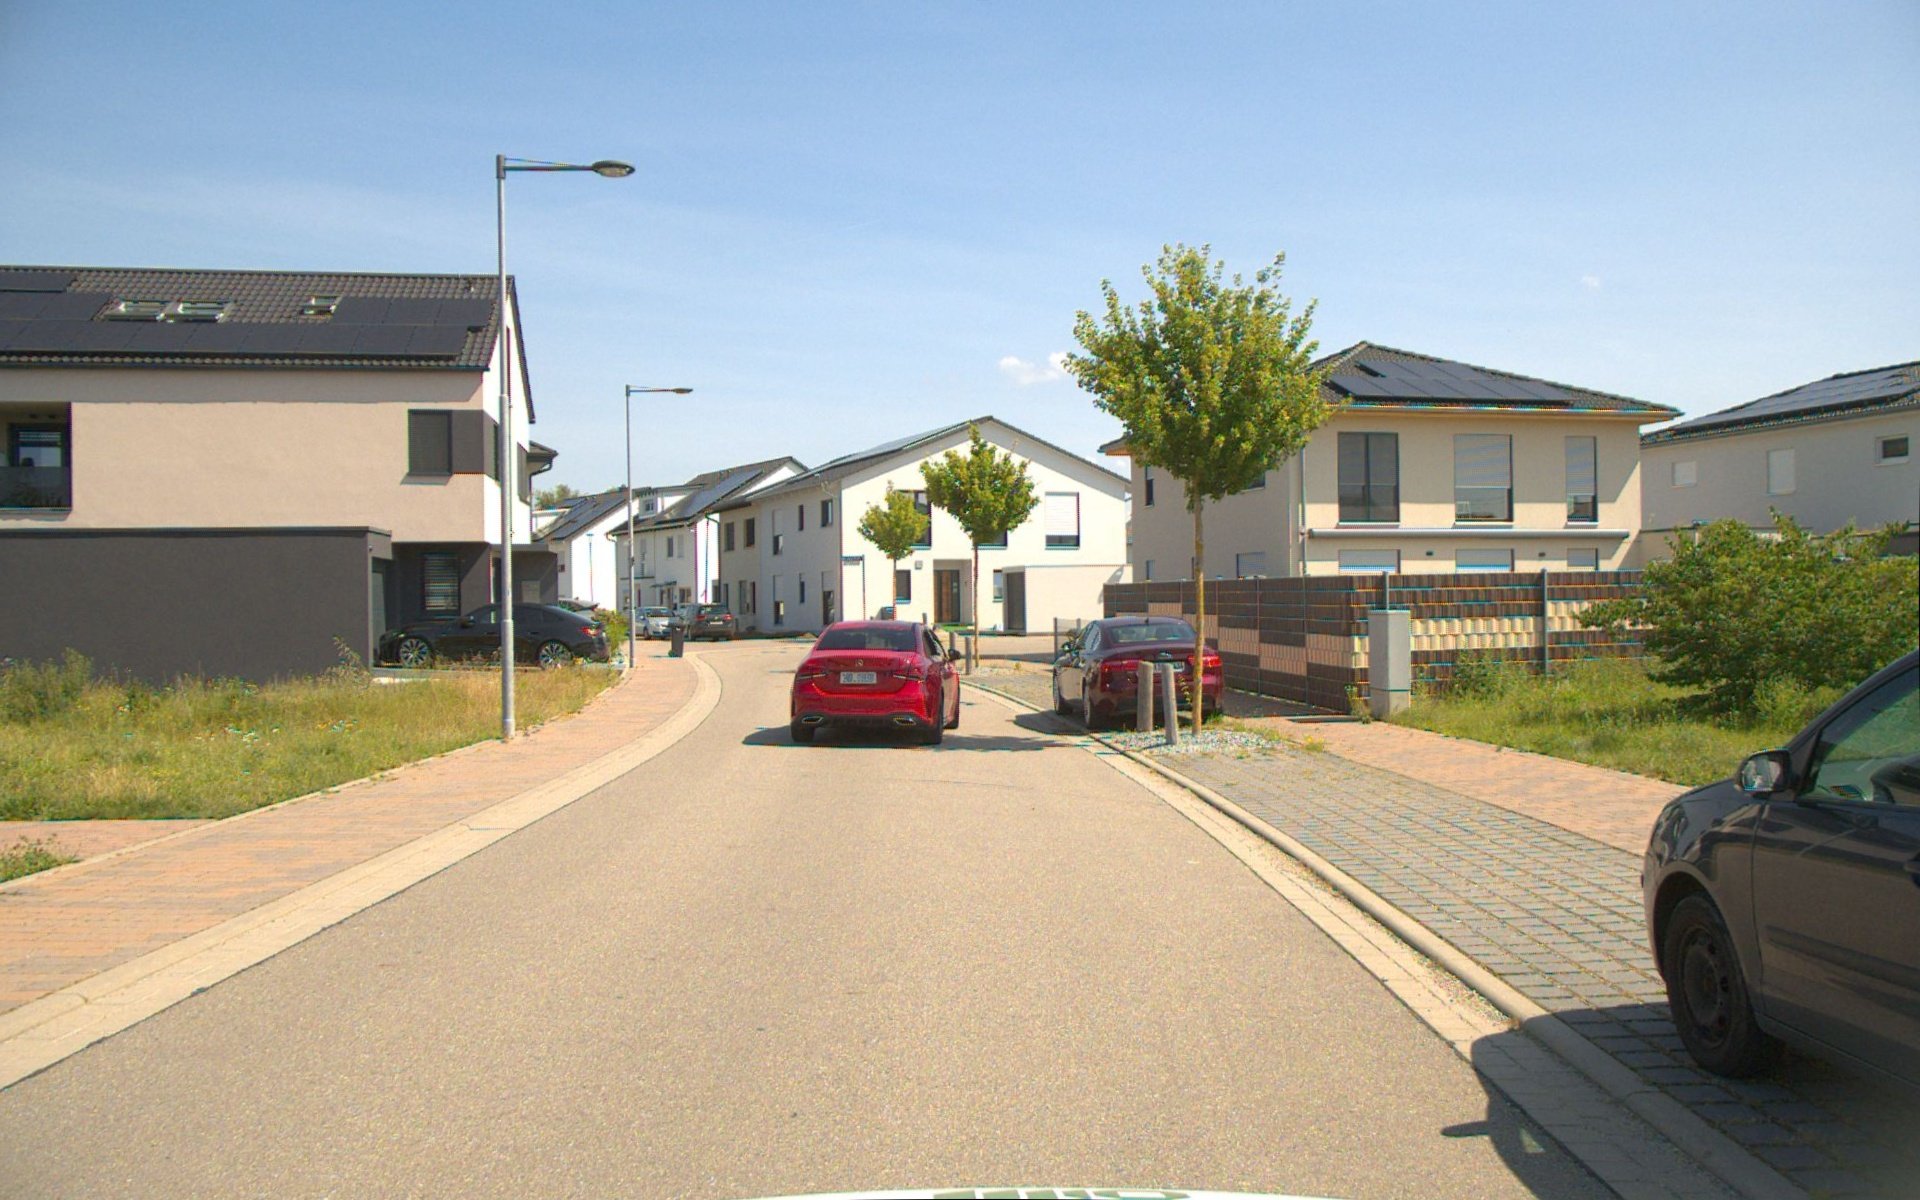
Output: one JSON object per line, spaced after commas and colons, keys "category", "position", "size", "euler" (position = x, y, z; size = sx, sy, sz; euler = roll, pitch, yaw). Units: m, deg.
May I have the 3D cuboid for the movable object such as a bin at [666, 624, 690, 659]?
{"category": "movable object such as a bin", "position": [-7.746, 1.141, 45.421], "size": [0.523, 0.952, 0.526], "euler": [1, 0, 1]}

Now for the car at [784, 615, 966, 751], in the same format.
{"category": "car", "position": [-0.934, 0.932, 20.544], "size": [1.725, 1.463, 4.522], "euler": [0, 0, 4]}

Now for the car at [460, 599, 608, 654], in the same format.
{"category": "car", "position": [-12.219, 0.744, 47.652], "size": [3.911, 1.513, 1.752], "euler": [0, 0, -7]}

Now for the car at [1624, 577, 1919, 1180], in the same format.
{"category": "car", "position": [3.176, 0.698, 4.056], "size": [1.566, 1.501, 3.674], "euler": [0, 0, -1]}

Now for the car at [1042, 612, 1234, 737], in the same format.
{"category": "car", "position": [2.355, 0.952, 23.070], "size": [1.721, 1.386, 4.570], "euler": [-5, 0, -5]}

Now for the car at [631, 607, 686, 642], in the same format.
{"category": "car", "position": [-13.591, 1.071, 74.357], "size": [1.654, 1.489, 3.918], "euler": [-1, 0, -22]}

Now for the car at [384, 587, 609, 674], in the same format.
{"category": "car", "position": [-9.662, 0.634, 34.800], "size": [4.294, 1.660, 1.767], "euler": [2, -1, -9]}

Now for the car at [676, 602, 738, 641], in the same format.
{"category": "car", "position": [-9.958, 0.835, 64.947], "size": [1.701, 1.447, 3.977], "euler": [-1, 0, -19]}
